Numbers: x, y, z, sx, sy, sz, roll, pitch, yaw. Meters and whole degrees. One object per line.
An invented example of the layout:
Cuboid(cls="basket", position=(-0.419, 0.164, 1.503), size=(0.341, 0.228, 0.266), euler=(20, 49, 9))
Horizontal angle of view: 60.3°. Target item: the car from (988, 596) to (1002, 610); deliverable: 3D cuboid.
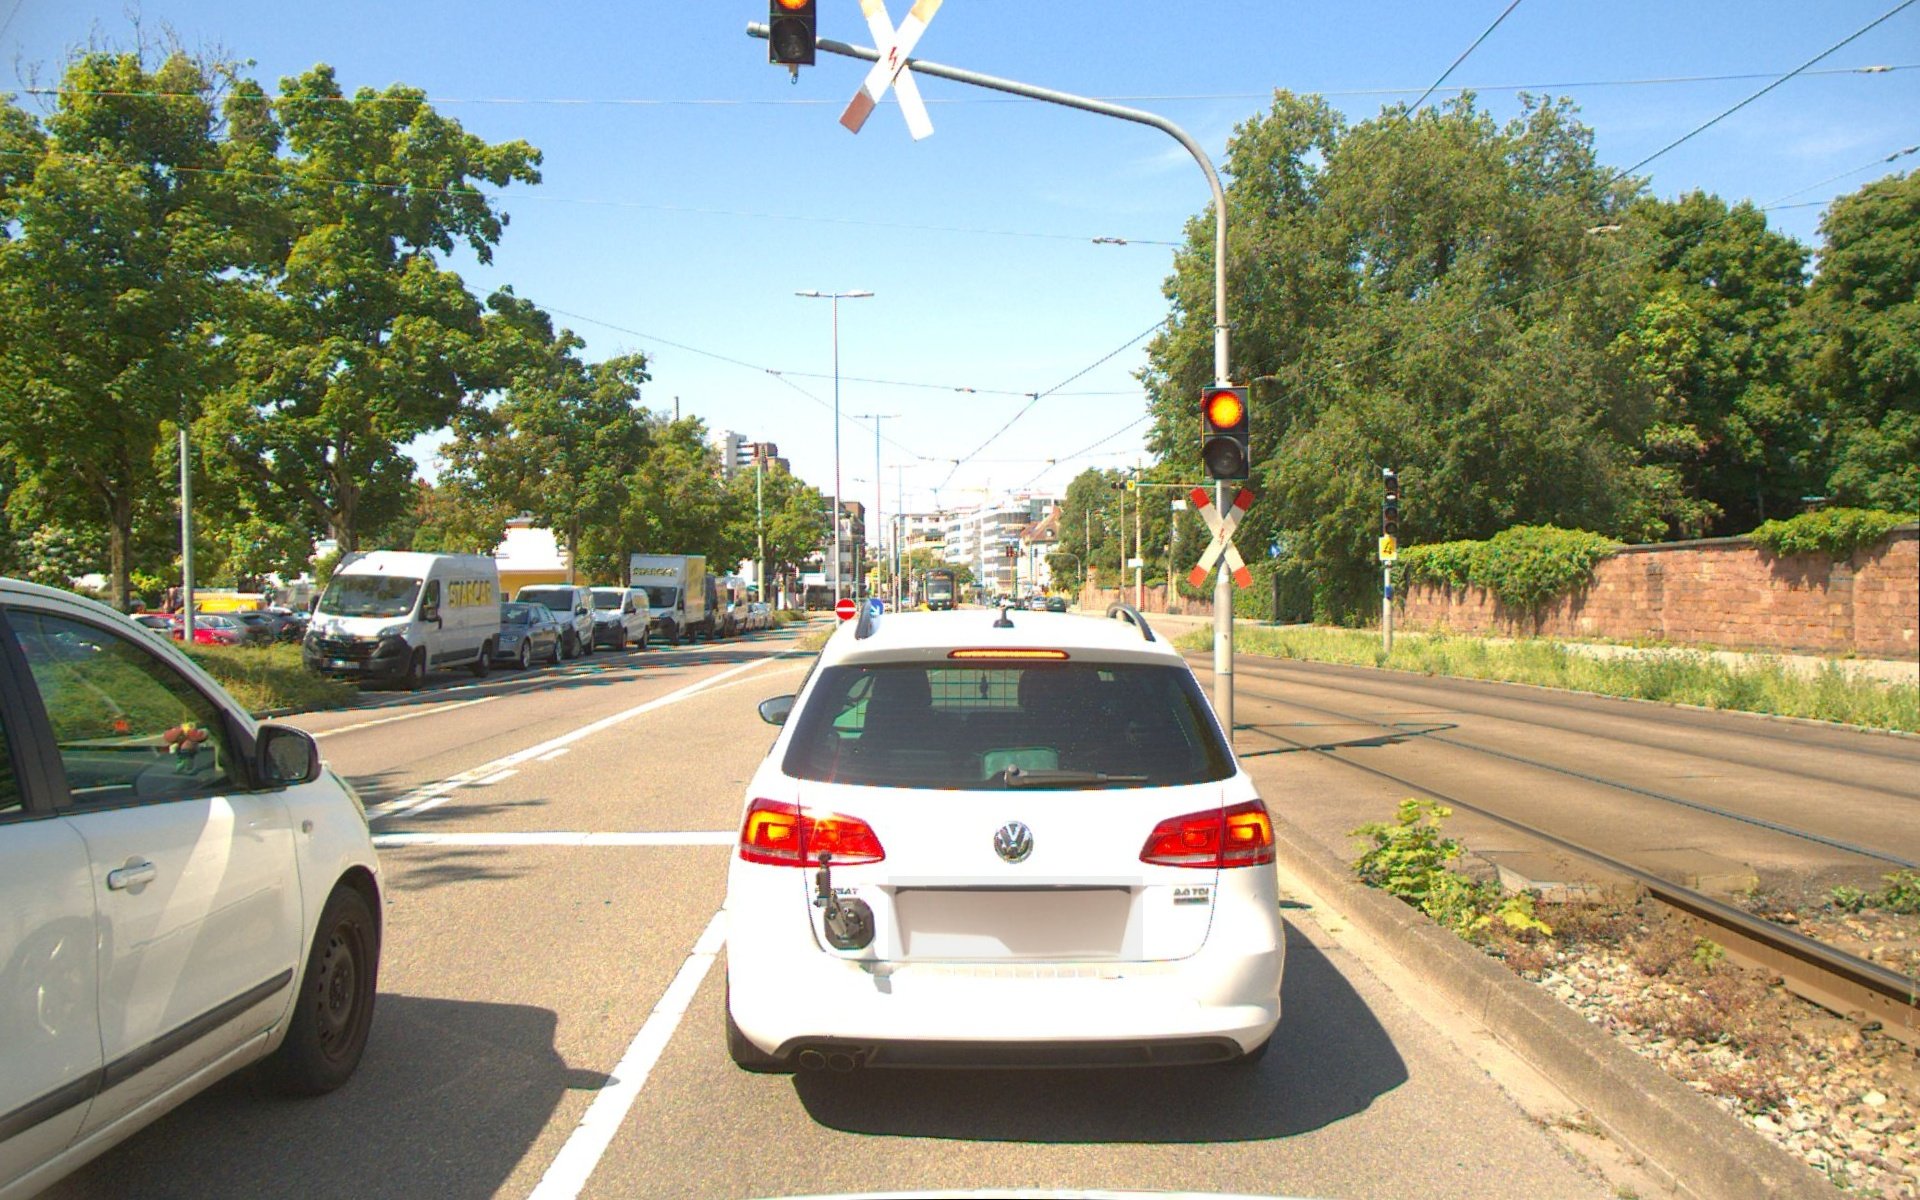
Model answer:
Cuboid(cls="car", position=(5.044, 0.389, 239.078), size=(1.826, 1.900, 5.060), euler=(1, 0, -2))

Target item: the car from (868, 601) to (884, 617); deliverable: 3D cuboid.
Cuboid(cls="car", position=(-10.482, 1.094, 207.014), size=(1.726, 1.929, 4.913), euler=(1, 0, -1))

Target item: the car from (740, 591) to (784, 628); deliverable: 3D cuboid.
Cuboid(cls="car", position=(-10.929, 0.499, 91.528), size=(1.826, 1.900, 5.412), euler=(1, 0, -1))

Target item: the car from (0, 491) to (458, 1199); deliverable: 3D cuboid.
Cuboid(cls="car", position=(-2.618, 0.579, 3.767), size=(1.628, 1.575, 4.546), euler=(0, 0, -1))

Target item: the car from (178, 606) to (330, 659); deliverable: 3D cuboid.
Cuboid(cls="car", position=(-21.823, 1.002, 51.225), size=(3.909, 1.440, 1.728), euler=(-2, 0, -5))

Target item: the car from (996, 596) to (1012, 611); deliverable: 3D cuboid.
Cuboid(cls="car", position=(5.999, 0.457, 225.640), size=(1.826, 1.900, 5.060), euler=(1, 0, -2))

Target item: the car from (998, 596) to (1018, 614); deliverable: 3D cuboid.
Cuboid(cls="car", position=(5.370, 0.537, 185.725), size=(1.826, 1.900, 5.060), euler=(1, 0, -2))

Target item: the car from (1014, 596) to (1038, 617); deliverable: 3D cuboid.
Cuboid(cls="car", position=(6.083, 0.563, 153.503), size=(1.826, 1.900, 5.060), euler=(1, 0, -2))

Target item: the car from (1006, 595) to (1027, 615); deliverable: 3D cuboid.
Cuboid(cls="car", position=(5.790, 0.518, 169.087), size=(1.826, 1.900, 5.060), euler=(1, 0, -2))

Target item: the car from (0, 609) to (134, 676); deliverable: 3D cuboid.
Cuboid(cls="car", position=(-21.713, 1.010, 38.640), size=(3.909, 1.440, 1.728), euler=(-2, 0, -5))

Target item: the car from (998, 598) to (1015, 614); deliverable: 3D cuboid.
Cuboid(cls="car", position=(5.921, 0.762, 209.220), size=(1.826, 1.900, 5.060), euler=(1, 0, -2))

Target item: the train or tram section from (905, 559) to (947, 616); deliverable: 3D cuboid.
Cuboid(cls="train or tram section", position=(-2.451, -0.926, 120.755), size=(2.812, 3.923, 12.389), euler=(-1, 0, -1))

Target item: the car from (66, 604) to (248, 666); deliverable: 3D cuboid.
Cuboid(cls="car", position=(-21.213, 0.911, 43.790), size=(3.909, 1.440, 1.728), euler=(-2, 0, -5))

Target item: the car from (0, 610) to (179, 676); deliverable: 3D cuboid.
Cuboid(cls="car", position=(-21.875, 1.060, 41.244), size=(3.909, 1.440, 1.728), euler=(-2, 0, -5))

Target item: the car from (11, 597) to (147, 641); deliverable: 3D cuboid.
Cuboid(cls="car", position=(-37.953, 0.818, 71.359), size=(4.698, 1.819, 2.062), euler=(1, 0, -5))

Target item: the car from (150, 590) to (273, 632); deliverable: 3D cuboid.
Cuboid(cls="car", position=(-34.516, 0.495, 76.391), size=(4.698, 1.819, 2.062), euler=(1, 0, -5))

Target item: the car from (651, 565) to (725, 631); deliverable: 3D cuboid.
Cuboid(cls="car", position=(-11.146, -0.087, 68.166), size=(2.079, 2.560, 5.733), euler=(1, 0, 0))

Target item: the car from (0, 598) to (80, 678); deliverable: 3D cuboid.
Cuboid(cls="car", position=(-21.174, 0.864, 35.192), size=(3.909, 1.638, 1.728), euler=(-2, 0, -5))

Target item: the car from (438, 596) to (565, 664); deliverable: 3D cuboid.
Cuboid(cls="car", position=(-10.614, 0.652, 38.592), size=(1.826, 1.440, 4.278), euler=(1, 0, -1))

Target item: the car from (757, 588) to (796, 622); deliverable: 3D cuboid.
Cuboid(cls="car", position=(-10.881, 0.274, 98.445), size=(1.826, 1.900, 5.412), euler=(1, 0, -1))

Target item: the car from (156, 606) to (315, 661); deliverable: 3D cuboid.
Cuboid(cls="car", position=(-21.387, 0.980, 48.935), size=(3.909, 1.440, 1.728), euler=(-2, 0, -5))

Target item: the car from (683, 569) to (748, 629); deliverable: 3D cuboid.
Cuboid(cls="car", position=(-11.133, -0.066, 75.602), size=(2.079, 2.560, 5.733), euler=(1, 0, 0))

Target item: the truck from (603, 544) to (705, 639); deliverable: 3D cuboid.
Cuboid(cls="truck", position=(-11.028, -0.302, 60.168), size=(2.371, 3.205, 6.996), euler=(1, 0, 0))

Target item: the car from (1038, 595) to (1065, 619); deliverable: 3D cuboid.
Cuboid(cls="car", position=(7.562, 0.538, 137.155), size=(1.826, 1.900, 5.060), euler=(1, 0, -2))

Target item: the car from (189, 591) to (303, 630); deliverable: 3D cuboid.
Cuboid(cls="car", position=(-35.052, 0.498, 81.285), size=(4.698, 1.819, 2.062), euler=(1, 0, -5))

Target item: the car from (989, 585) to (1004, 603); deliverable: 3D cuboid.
Cuboid(cls="car", position=(5.773, -0.985, 262.596), size=(2.015, 2.807, 5.630), euler=(1, 0, -2))

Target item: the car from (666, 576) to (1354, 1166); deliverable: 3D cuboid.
Cuboid(cls="car", position=(0.101, 0.674, 6.218), size=(1.726, 1.455, 3.999), euler=(-1, 0, -1))

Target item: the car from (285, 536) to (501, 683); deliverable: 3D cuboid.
Cuboid(cls="car", position=(-10.832, 0.155, 32.148), size=(2.079, 2.560, 5.817), euler=(1, 0, 1))

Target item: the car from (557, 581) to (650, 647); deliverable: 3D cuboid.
Cuboid(cls="car", position=(-11.080, 0.404, 51.744), size=(1.826, 1.900, 5.412), euler=(1, 0, -1))

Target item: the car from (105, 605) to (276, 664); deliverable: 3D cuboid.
Cuboid(cls="car", position=(-21.395, 0.940, 46.117), size=(3.909, 1.440, 1.728), euler=(-2, 0, -5))

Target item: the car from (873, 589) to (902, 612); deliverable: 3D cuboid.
Cuboid(cls="car", position=(-4.870, -0.002, 111.794), size=(1.670, 1.499, 4.589), euler=(-1, 0, 0))

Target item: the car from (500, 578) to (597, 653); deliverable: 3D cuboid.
Cuboid(cls="car", position=(-11.145, 0.378, 45.082), size=(1.828, 1.900, 5.068), euler=(1, 0, -6))

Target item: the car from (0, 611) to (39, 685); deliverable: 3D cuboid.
Cuboid(cls="car", position=(-20.822, 1.027, 32.931), size=(3.909, 1.440, 1.728), euler=(-2, 0, -5))
